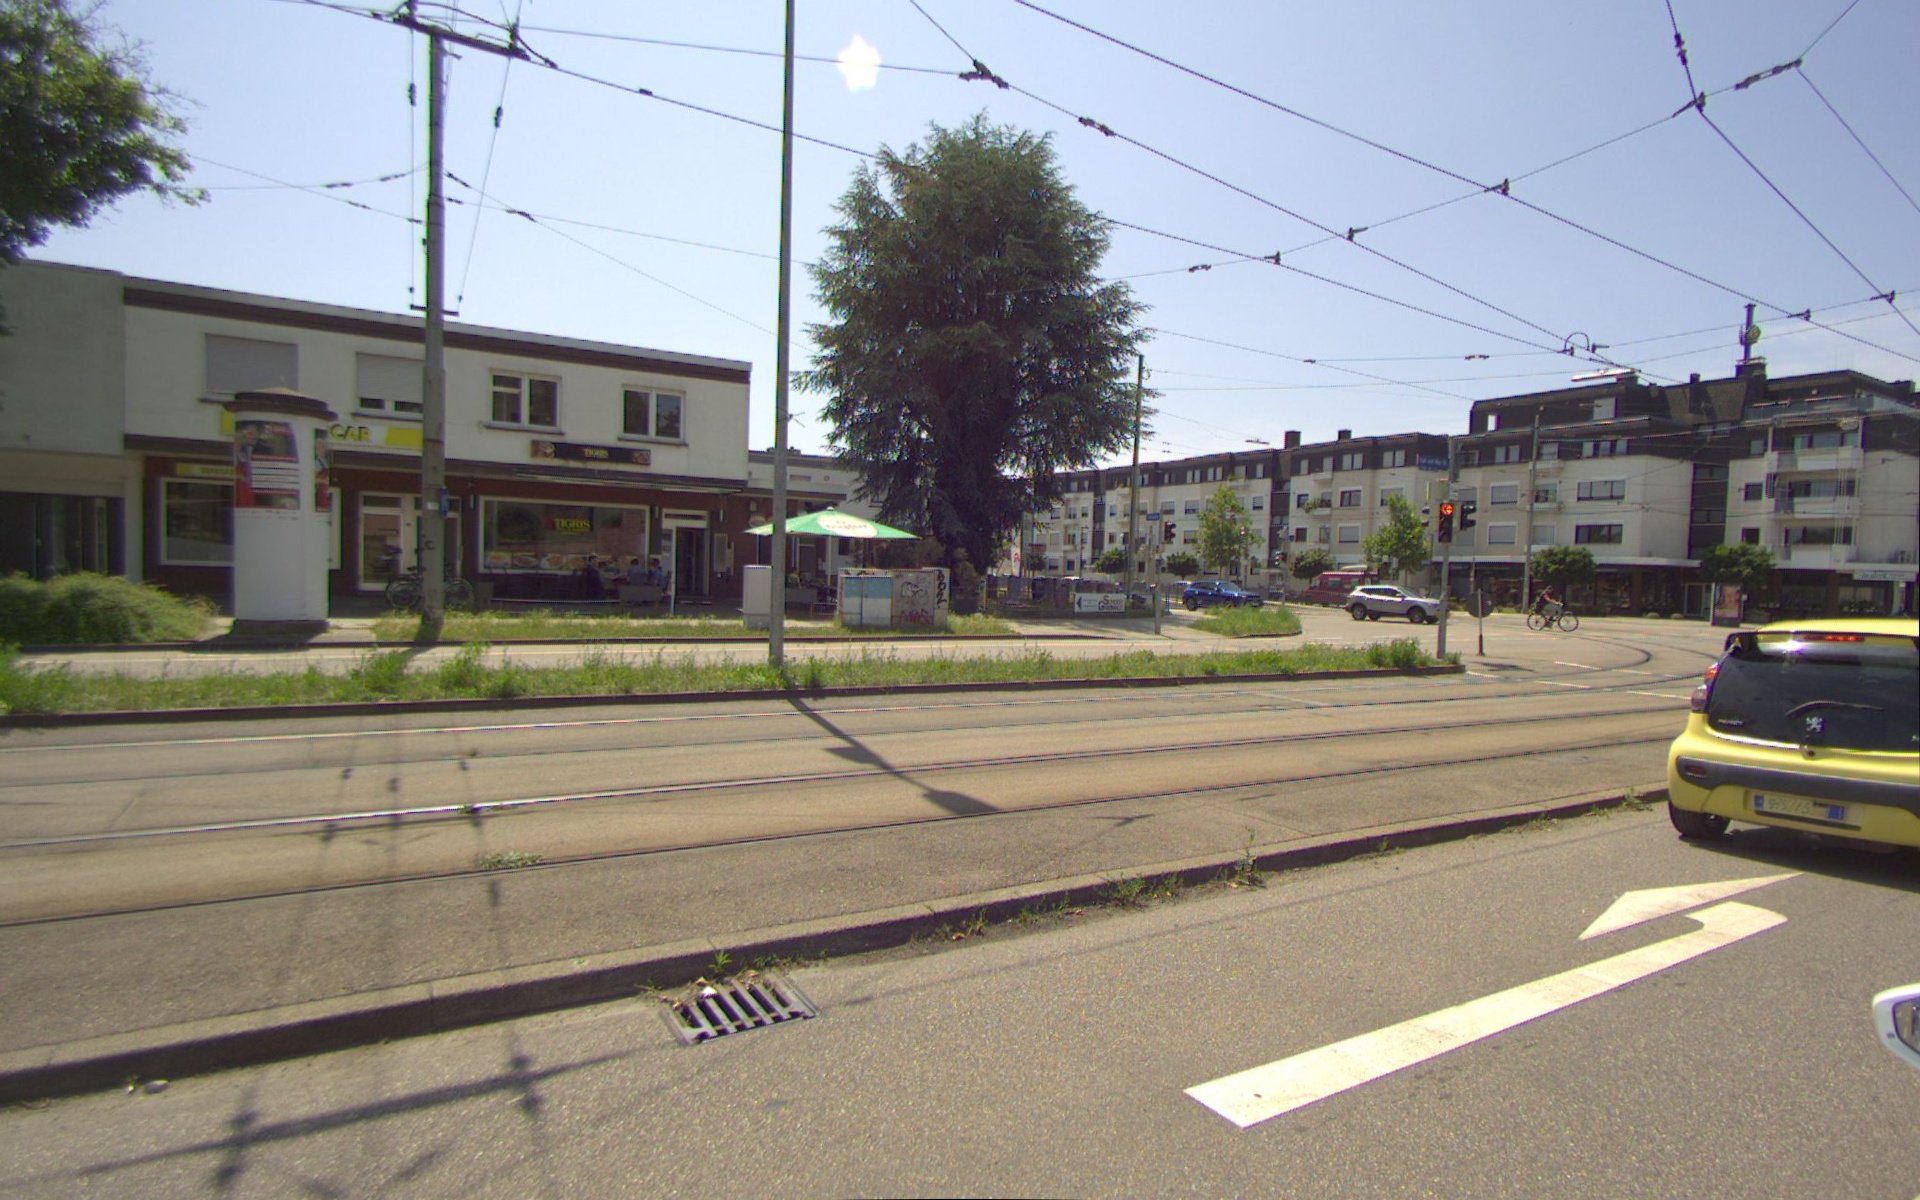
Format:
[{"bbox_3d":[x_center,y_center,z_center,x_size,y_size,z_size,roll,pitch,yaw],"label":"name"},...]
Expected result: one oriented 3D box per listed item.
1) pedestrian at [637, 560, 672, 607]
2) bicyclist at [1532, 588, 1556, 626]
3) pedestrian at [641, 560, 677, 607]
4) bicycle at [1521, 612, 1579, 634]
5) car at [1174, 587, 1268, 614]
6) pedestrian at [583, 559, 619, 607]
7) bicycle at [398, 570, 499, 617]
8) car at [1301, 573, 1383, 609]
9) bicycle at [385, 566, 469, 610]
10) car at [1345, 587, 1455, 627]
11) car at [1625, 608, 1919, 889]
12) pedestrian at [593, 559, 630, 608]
[{"bbox_3d":[-8.795,-0.471,28.883,0.832,1.285,0.586,2,0,-30],"label":"pedestrian"},{"bbox_3d":[23.772,0.294,40.854,0.741,1.521,0.480,2,0,39],"label":"bicyclist"},{"bbox_3d":[-8.483,-0.472,28.314,0.832,1.285,0.586,2,0,-30],"label":"pedestrian"},{"bbox_3d":[23.913,0.922,40.715,1.956,0.794,0.464,2,0,39],"label":"bicycle"},{"bbox_3d":[13.613,0.014,52.628,1.919,1.253,4.740,2,0,-33],"label":"car"},{"bbox_3d":[-10.062,-0.472,28.132,0.832,1.285,0.586,2,0,-30],"label":"pedestrian"},{"bbox_3d":[-11.639,-0.131,22.866,2.006,0.992,0.607,2,0,-31],"label":"bicycle"},{"bbox_3d":[26.469,-0.624,69.752,2.219,2.372,5.038,2,0,-31],"label":"car"},{"bbox_3d":[-12.648,-0.276,23.858,1.738,0.992,0.536,2,0,-30],"label":"bicycle"},{"bbox_3d":[19.528,0.292,44.674,4.091,1.605,1.930,2,0,41],"label":"car"},{"bbox_3d":[6.161,0.799,6.642,3.254,1.464,1.715,0,0,-31],"label":"car"},{"bbox_3d":[-9.569,-0.446,27.554,0.832,1.285,0.586,2,0,-30],"label":"pedestrian"}]
